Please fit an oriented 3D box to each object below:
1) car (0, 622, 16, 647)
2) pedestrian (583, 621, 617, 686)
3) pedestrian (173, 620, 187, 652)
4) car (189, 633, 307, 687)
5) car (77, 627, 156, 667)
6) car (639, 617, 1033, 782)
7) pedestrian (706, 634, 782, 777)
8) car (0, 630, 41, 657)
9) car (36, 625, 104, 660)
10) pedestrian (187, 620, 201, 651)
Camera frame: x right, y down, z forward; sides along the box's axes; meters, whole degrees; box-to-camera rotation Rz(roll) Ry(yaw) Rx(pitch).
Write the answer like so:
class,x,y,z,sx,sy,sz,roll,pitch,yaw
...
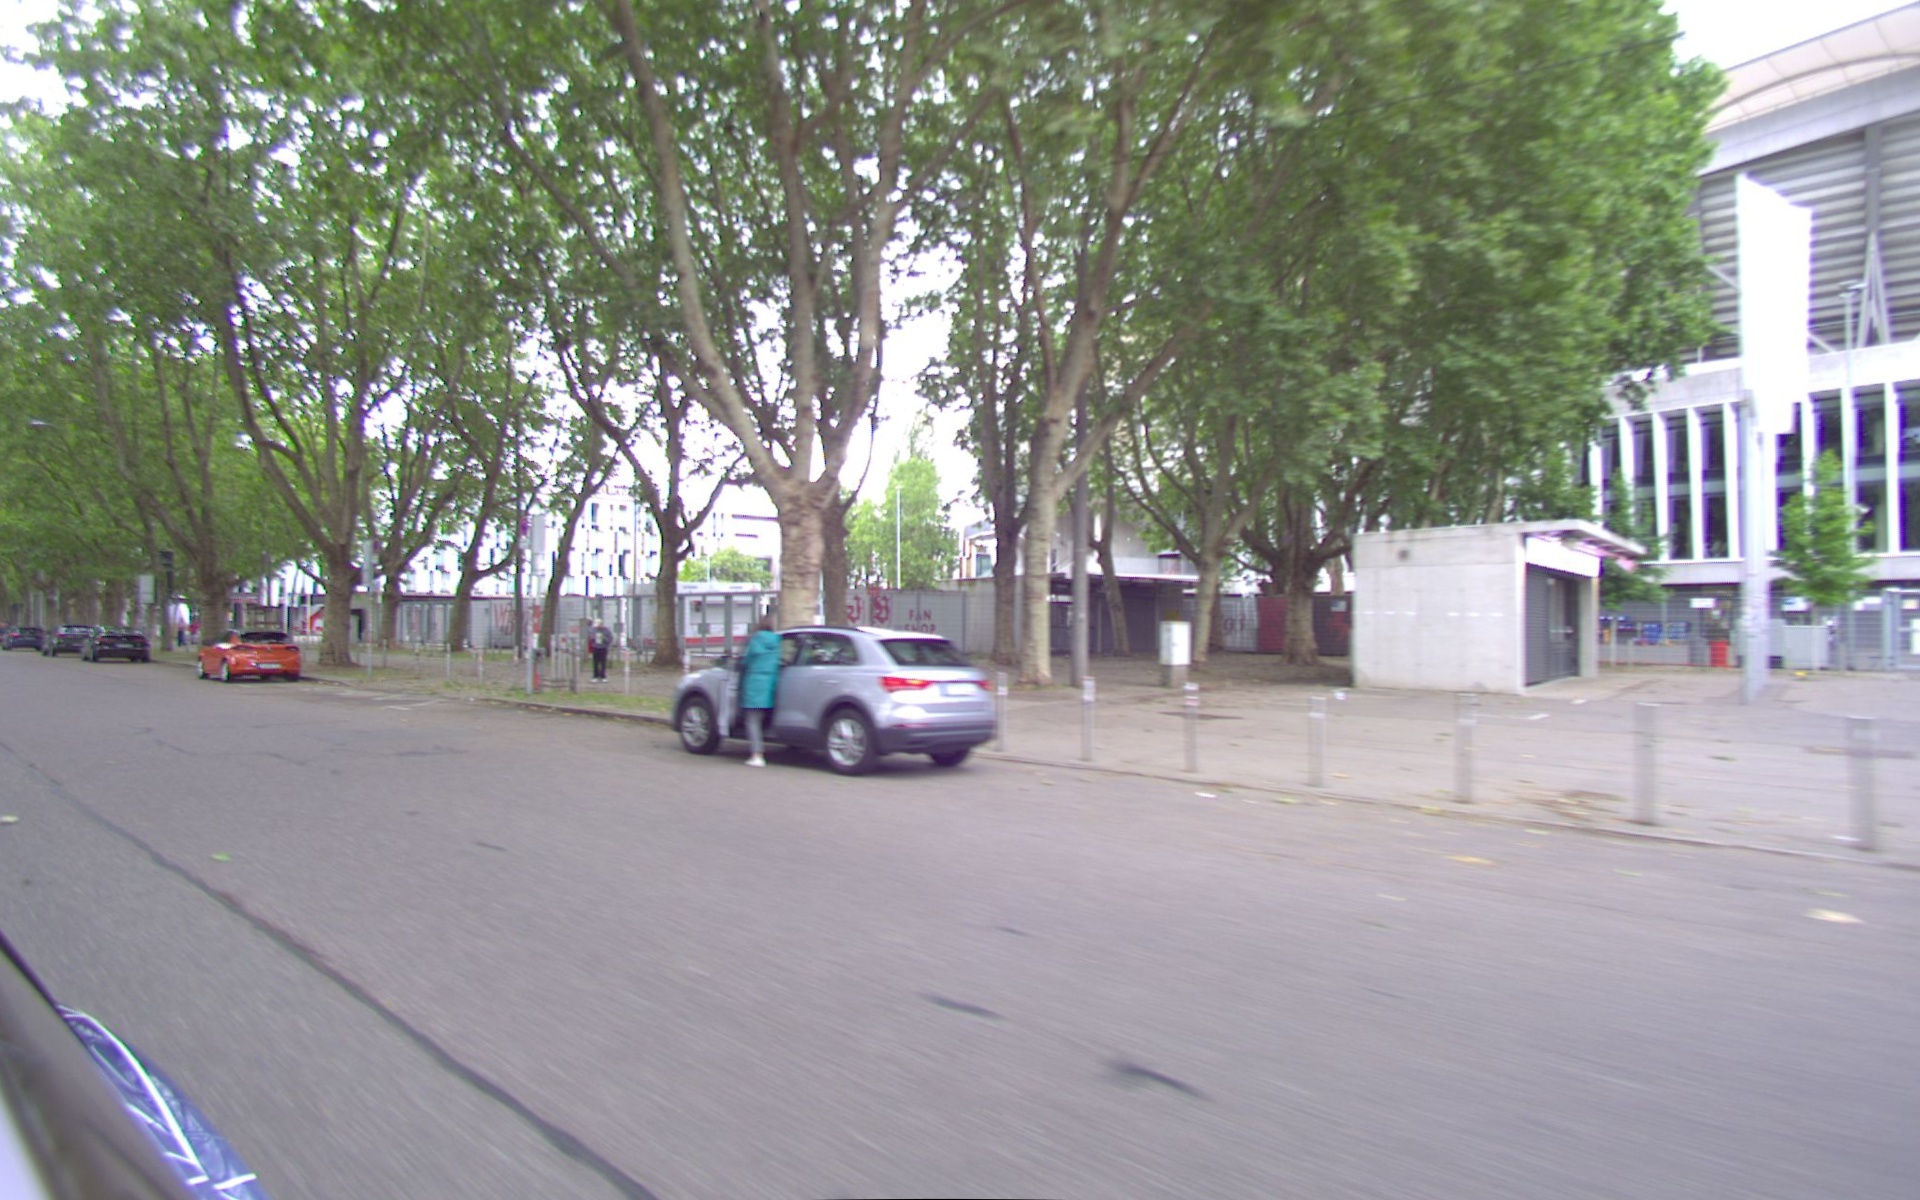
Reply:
class,x,y,z,sx,sy,sz,roll,pitch,yaw
car,-68.104,2.411,71.219,4.635,1.764,1.929,-1,-4,41
pedestrian,-9.207,1.348,25.889,0.585,1.632,0.793,1,-2,-40
pedestrian,-44.706,2.062,58.026,0.569,1.783,0.769,1,-2,-34
car,-19.605,1.594,27.812,3.999,1.364,1.789,-2,-2,42
car,-33.212,1.834,39.811,4.628,1.477,1.806,-2,-4,44
car,-1.632,1.024,12.053,4.754,1.575,2.051,-2,-2,42
pedestrian,-2.339,1.114,10.958,0.567,1.477,0.577,-2,-1,45
car,-54.988,2.498,58.874,4.572,1.497,1.706,-2,-2,41
car,-41.780,1.984,47.473,4.149,1.538,1.858,-2,-3,42
pedestrian,-44.205,2.049,58.420,0.567,1.755,0.769,1,-2,-34
